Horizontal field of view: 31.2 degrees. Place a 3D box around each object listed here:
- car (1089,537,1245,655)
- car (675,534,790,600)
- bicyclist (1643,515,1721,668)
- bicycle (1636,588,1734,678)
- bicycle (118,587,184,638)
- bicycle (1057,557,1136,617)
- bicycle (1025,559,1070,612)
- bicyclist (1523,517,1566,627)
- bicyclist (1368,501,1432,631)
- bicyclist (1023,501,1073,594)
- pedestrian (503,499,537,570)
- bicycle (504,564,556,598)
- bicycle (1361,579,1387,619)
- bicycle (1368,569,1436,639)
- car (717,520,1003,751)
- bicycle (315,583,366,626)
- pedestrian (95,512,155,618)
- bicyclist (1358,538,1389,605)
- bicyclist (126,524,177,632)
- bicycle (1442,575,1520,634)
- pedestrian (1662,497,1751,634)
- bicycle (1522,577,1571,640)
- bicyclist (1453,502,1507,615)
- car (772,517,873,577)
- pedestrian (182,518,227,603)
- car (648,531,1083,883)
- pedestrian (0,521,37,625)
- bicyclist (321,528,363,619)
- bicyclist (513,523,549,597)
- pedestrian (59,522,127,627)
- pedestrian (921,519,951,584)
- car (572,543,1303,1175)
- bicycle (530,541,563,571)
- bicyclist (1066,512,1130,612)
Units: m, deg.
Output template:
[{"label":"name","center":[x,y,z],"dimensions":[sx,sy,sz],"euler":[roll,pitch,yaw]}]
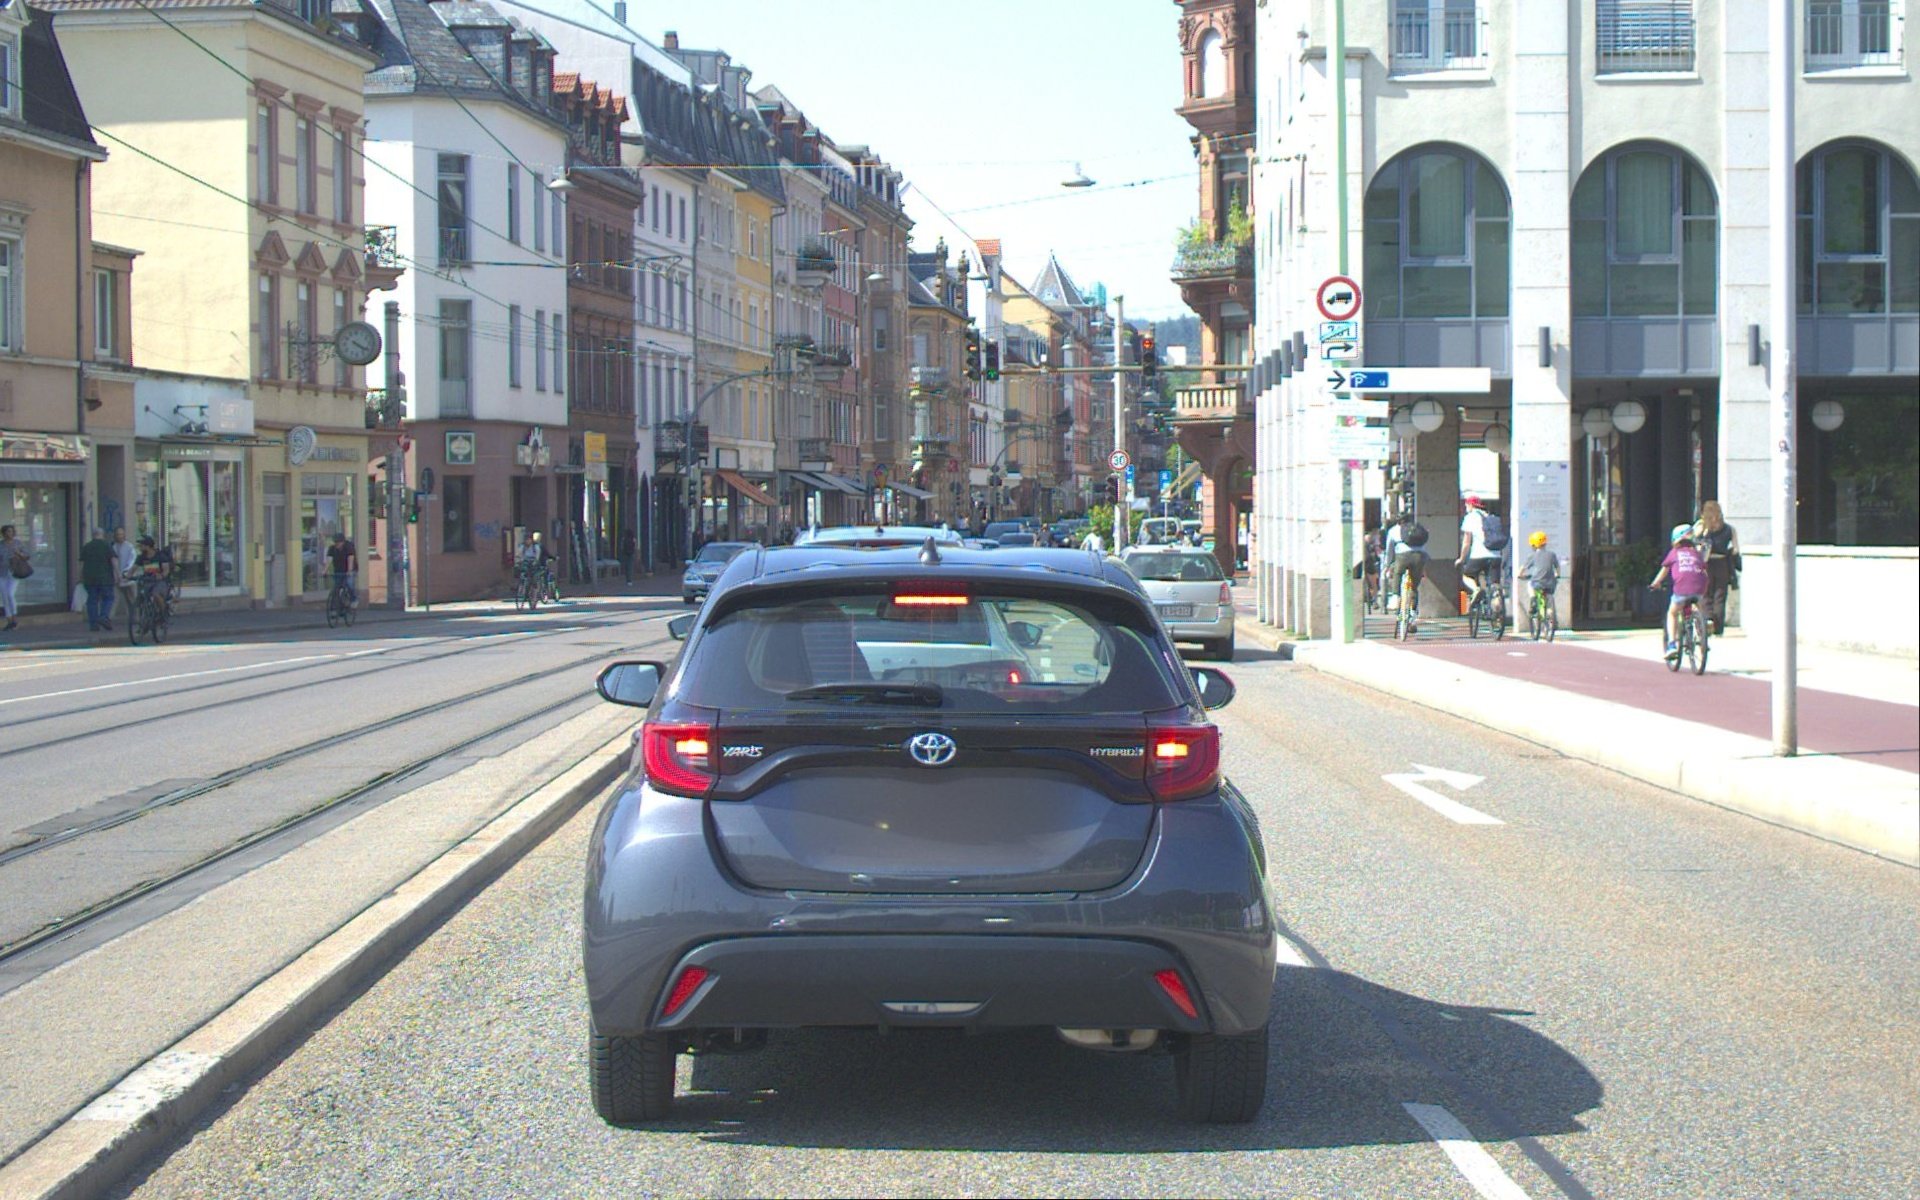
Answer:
[{"label":"car","center":[2.701,-0.092,45.710],"dimensions":[1.705,1.461,4.326],"euler":[1,1,-1]},{"label":"car","center":[-5.228,-0.779,79.436],"dimensions":[1.732,1.455,4.372],"euler":[0,1,9]},{"label":"bicyclist","center":[6.650,-0.083,31.690],"dimensions":[0.534,1.378,0.669],"euler":[-2,1,-1]},{"label":"bicycle","center":[6.668,0.291,31.669],"dimensions":[0.514,0.763,1.661],"euler":[-2,1,-1]},{"label":"bicycle","center":[-12.568,0.182,53.446],"dimensions":[0.620,0.713,1.771],"euler":[1,2,-1]},{"label":"bicycle","center":[3.562,-0.351,90.027],"dimensions":[1.111,1.415,3.008],"euler":[3,1,-16]},{"label":"bicycle","center":[2.462,-0.419,97.103],"dimensions":[1.112,1.415,3.007],"euler":[3,1,-1]},{"label":"bicyclist","center":[7.394,-0.356,43.476],"dimensions":[0.422,1.378,0.443],"euler":[-2,1,-1]},{"label":"bicyclist","center":[5.865,-0.459,45.829],"dimensions":[0.701,1.689,0.924],"euler":[-1,1,0]},{"label":"bicyclist","center":[2.484,-1.474,96.719],"dimensions":[1.228,2.520,1.105],"euler":[4,1,2]},{"label":"pedestrian","center":[-10.986,-1.631,85.777],"dimensions":[0.736,1.760,0.787],"euler":[0,2,0]},{"label":"bicycle","center":[-9.709,-0.434,77.664],"dimensions":[0.620,0.713,2.044],"euler":[2,2,9]},{"label":"bicycle","center":[8.242,-0.029,68.461],"dimensions":[0.416,0.763,1.205],"euler":[-2,1,3]},{"label":"bicycle","center":[5.882,0.044,45.805],"dimensions":[0.704,0.879,1.525],"euler":[-1,1,0]},{"label":"car","center":[-0.714,0.198,25.160],"dimensions":[1.897,1.525,4.000],"euler":[1,1,-1]},{"label":"bicycle","center":[-11.413,0.071,63.371],"dimensions":[0.620,0.713,1.731],"euler":[1,2,-1]},{"label":"pedestrian","center":[-14.427,-0.609,59.439],"dimensions":[0.736,1.760,0.787],"euler":[4,1,0]},{"label":"bicyclist","center":[8.234,-0.567,68.481],"dimensions":[0.538,1.312,0.672],"euler":[-1,1,3]},{"label":"bicyclist","center":[-12.554,-0.347,53.389],"dimensions":[0.627,1.644,0.622],"euler":[1,2,0]},{"label":"bicycle","center":[6.863,0.063,45.298],"dimensions":[0.416,0.763,0.961],"euler":[-3,1,-39]},{"label":"pedestrian","center":[9.142,-0.425,42.145],"dimensions":[0.739,1.609,1.016],"euler":[4,1,-1]},{"label":"bicycle","center":[7.416,0.101,43.472],"dimensions":[0.416,0.763,0.962],"euler":[-2,1,-1]},{"label":"bicyclist","center":[6.847,-0.543,45.288],"dimensions":[0.484,1.461,0.443],"euler":[-3,1,-39]},{"label":"car","center":[-3.701,-1.449,93.559],"dimensions":[1.994,1.581,4.651],"euler":[0,1,7]},{"label":"pedestrian","center":[-14.751,-0.767,67.132],"dimensions":[0.649,1.596,0.566],"euler":[4,3,0]},{"label":"car","center":[-0.457,0.433,17.181],"dimensions":[1.897,1.525,4.000],"euler":[1,1,-1]},{"label":"pedestrian","center":[-15.185,-0.429,54.887],"dimensions":[0.649,1.596,0.566],"euler":[4,3,0]},{"label":"bicyclist","center":[-11.390,-0.500,63.359],"dimensions":[0.627,1.644,0.622],"euler":[1,2,0]},{"label":"bicyclist","center":[-9.690,-0.906,77.677],"dimensions":[0.627,1.644,0.621],"euler":[2,2,8]},{"label":"pedestrian","center":[-14.106,-0.421,55.942],"dimensions":[0.762,1.648,0.711],"euler":[4,1,8]},{"label":"pedestrian","center":[-1.004,-2.018,142.803],"dimensions":[1.051,2.579,1.501],"euler":[4,1,0]},{"label":"car","center":[-0.090,0.591,10.037],"dimensions":[1.720,1.468,3.658],"euler":[1,1,-1]},{"label":"bicycle","center":[-10.289,-1.101,85.532],"dimensions":[0.620,0.713,1.771],"euler":[1,2,-1]},{"label":"bicyclist","center":[3.614,-0.998,89.936],"dimensions":[1.227,2.520,1.105],"euler":[4,1,-15]}]
